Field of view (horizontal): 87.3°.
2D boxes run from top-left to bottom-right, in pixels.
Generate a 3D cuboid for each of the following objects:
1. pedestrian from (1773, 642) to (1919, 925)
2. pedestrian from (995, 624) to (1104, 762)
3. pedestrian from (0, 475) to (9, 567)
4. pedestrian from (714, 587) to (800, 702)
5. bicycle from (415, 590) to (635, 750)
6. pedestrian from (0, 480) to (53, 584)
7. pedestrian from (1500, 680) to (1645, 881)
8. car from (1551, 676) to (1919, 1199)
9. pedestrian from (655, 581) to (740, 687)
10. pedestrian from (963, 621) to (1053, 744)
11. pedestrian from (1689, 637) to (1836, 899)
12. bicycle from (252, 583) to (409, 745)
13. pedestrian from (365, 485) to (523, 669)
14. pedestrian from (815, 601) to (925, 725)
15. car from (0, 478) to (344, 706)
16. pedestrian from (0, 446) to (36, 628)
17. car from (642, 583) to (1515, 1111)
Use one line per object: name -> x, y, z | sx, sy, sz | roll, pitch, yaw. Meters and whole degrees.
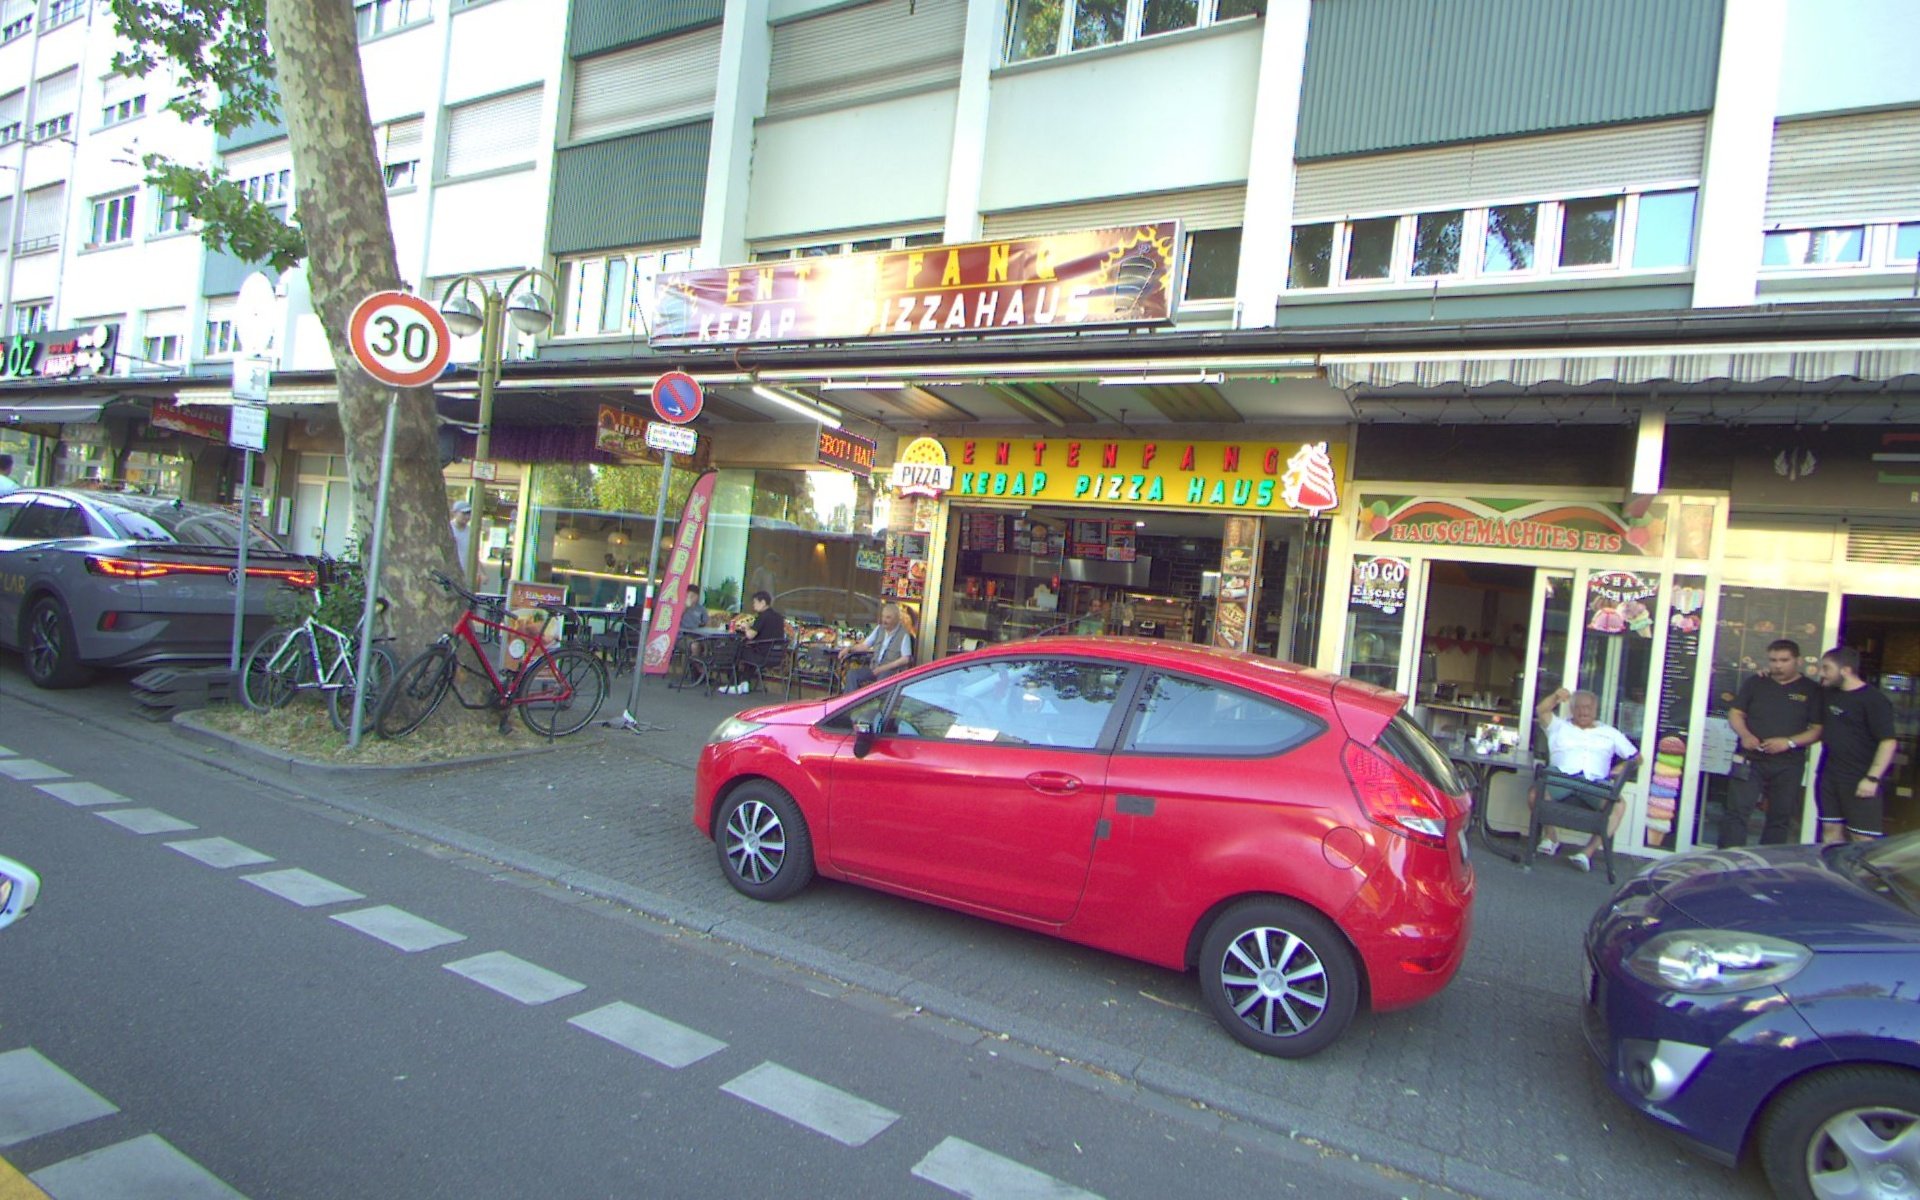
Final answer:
pedestrian -> 6.199, 1.216, 6.964 | 0.637, 1.783, 0.610 | 8, 3, 34
pedestrian -> 0.839, 0.841, 9.410 | 0.740, 1.172, 0.593 | 6, 3, 33
pedestrian -> -19.423, -1.499, 19.818 | 0.684, 2.038, 0.692 | 7, 1, 29
pedestrian -> -2.383, 0.513, 11.797 | 0.701, 1.260, 0.614 | 7, 3, 41
bicycle -> -3.226, 0.507, 7.557 | 0.291, 1.082, 1.455 | 12, 7, 42
pedestrian -> -19.235, -1.391, 20.657 | 0.685, 2.038, 0.613 | 7, 1, 32
pedestrian -> 4.644, 1.299, 7.621 | 0.767, 1.249, 1.202 | 6, 3, 33
car -> 3.878, 1.225, 2.902 | 3.543, 1.485, 1.620 | 7, 2, 29
pedestrian -> -3.229, 0.411, 12.360 | 0.694, 1.220, 0.675 | 7, 3, 42
pedestrian -> 0.499, 0.828, 10.380 | 0.585, 1.172, 0.671 | 6, 3, 31
pedestrian -> 5.829, 1.181, 7.349 | 0.588, 1.759, 0.587 | 8, 3, 33
bicycle -> -4.438, 0.428, 7.078 | 1.110, 0.941, 0.295 | 9, 6, 21
pedestrian -> -5.846, -0.246, 11.417 | 1.104, 1.913, 1.023 | 6, 0, 31
pedestrian -> -0.972, 0.665, 10.864 | 0.861, 1.237, 0.688 | 2, 3, -44
car -> -7.834, -0.201, 9.211 | 4.223, 1.619, 1.742 | 7, 2, 27
pedestrian -> -11.224, -0.753, 11.533 | 0.764, 2.040, 0.706 | 4, 2, -37
car -> 0.484, 0.848, 4.992 | 3.780, 1.448, 1.668 | 7, 2, 27
